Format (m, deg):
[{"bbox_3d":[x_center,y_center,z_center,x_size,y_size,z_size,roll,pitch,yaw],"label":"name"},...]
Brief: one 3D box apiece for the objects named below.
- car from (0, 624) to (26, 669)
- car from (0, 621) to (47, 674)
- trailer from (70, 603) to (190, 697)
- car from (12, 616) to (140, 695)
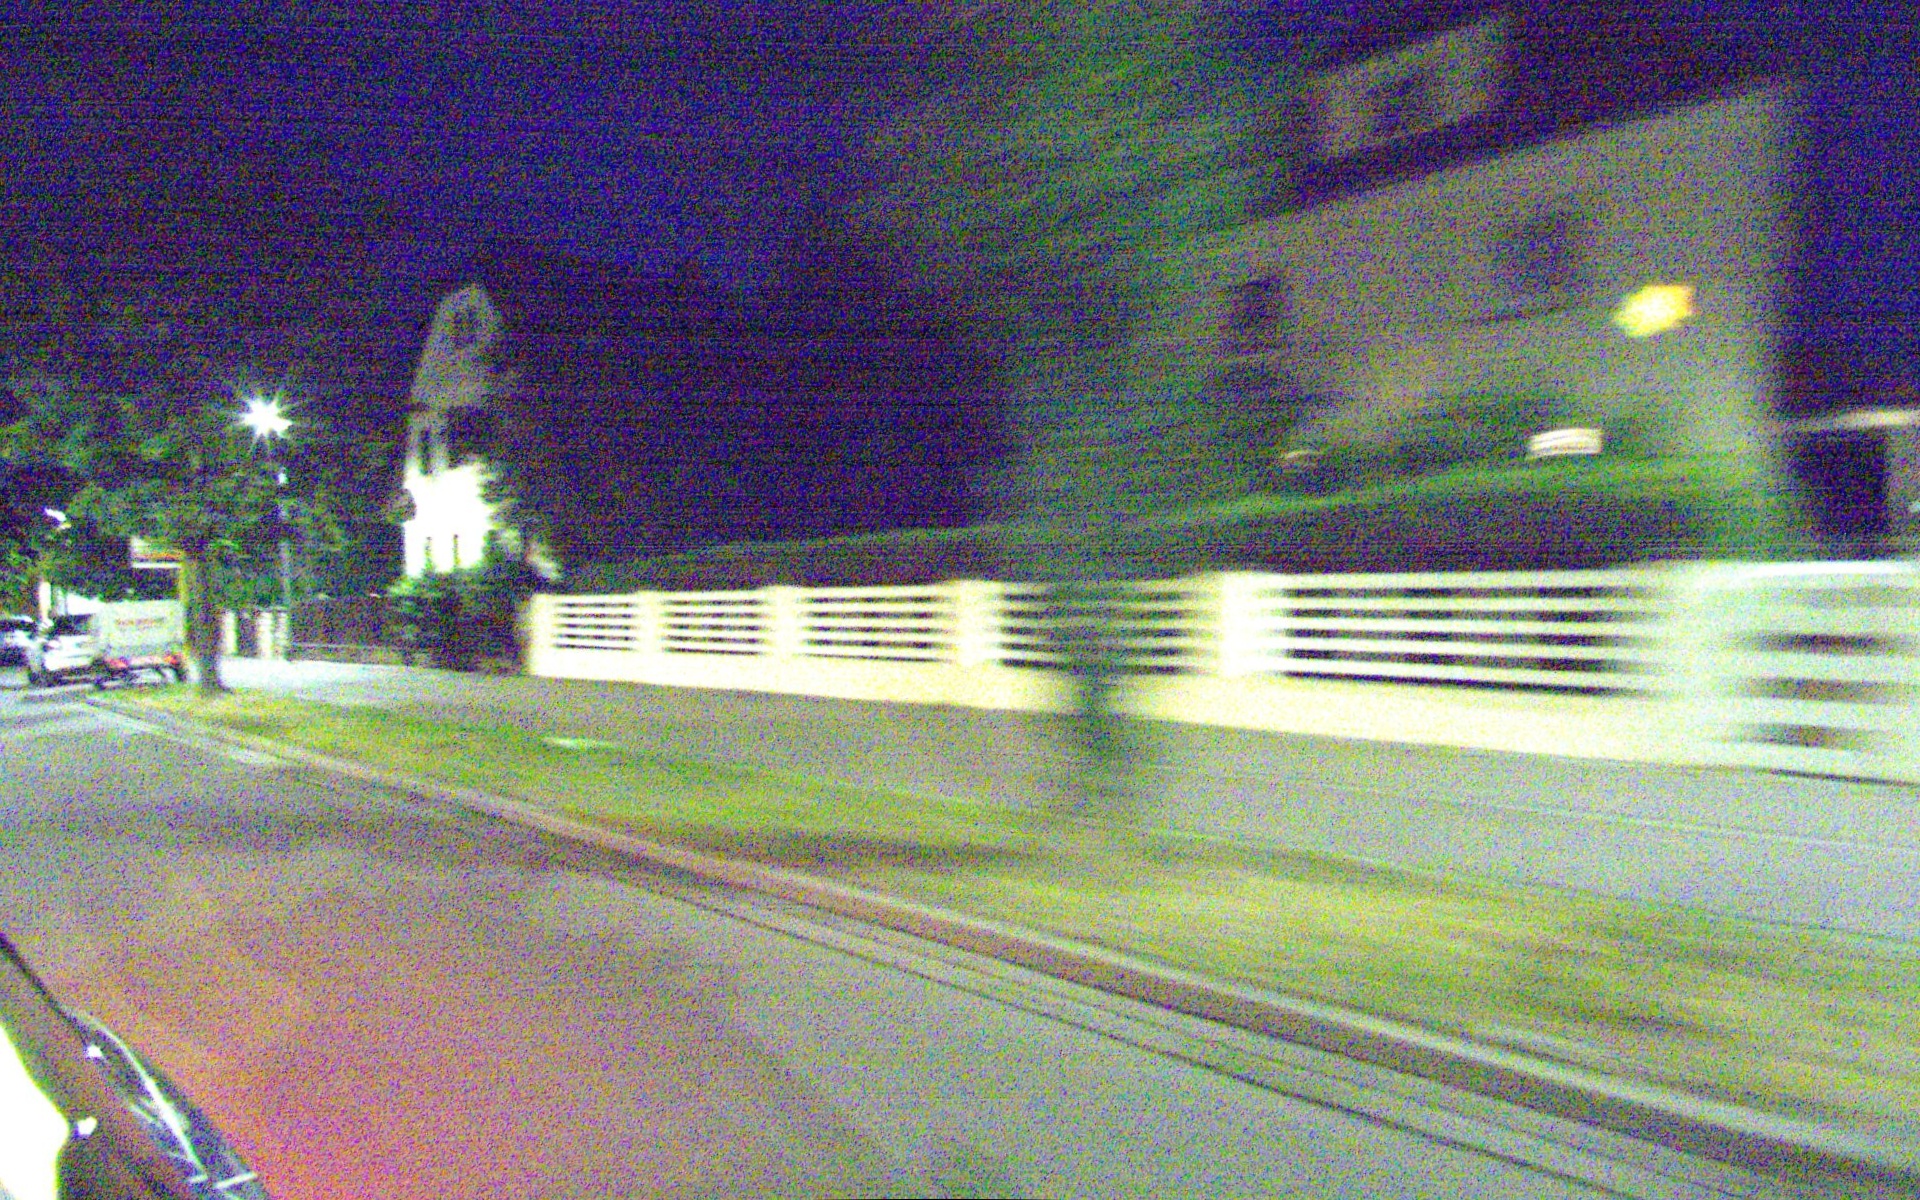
[{"bbox_3d":[-34.856,1.659,36.226,4.277,1.522,1.670,-2,0,42],"label":"car"},{"bbox_3d":[-30.249,1.486,31.816,4.276,1.530,1.748,-2,1,41],"label":"car"},{"bbox_3d":[-17.259,0.990,20.993,3.426,1.700,1.432,-1,3,44],"label":"trailer"},{"bbox_3d":[-19.941,1.199,22.803,2.976,1.533,1.655,-2,2,40],"label":"car"}]
